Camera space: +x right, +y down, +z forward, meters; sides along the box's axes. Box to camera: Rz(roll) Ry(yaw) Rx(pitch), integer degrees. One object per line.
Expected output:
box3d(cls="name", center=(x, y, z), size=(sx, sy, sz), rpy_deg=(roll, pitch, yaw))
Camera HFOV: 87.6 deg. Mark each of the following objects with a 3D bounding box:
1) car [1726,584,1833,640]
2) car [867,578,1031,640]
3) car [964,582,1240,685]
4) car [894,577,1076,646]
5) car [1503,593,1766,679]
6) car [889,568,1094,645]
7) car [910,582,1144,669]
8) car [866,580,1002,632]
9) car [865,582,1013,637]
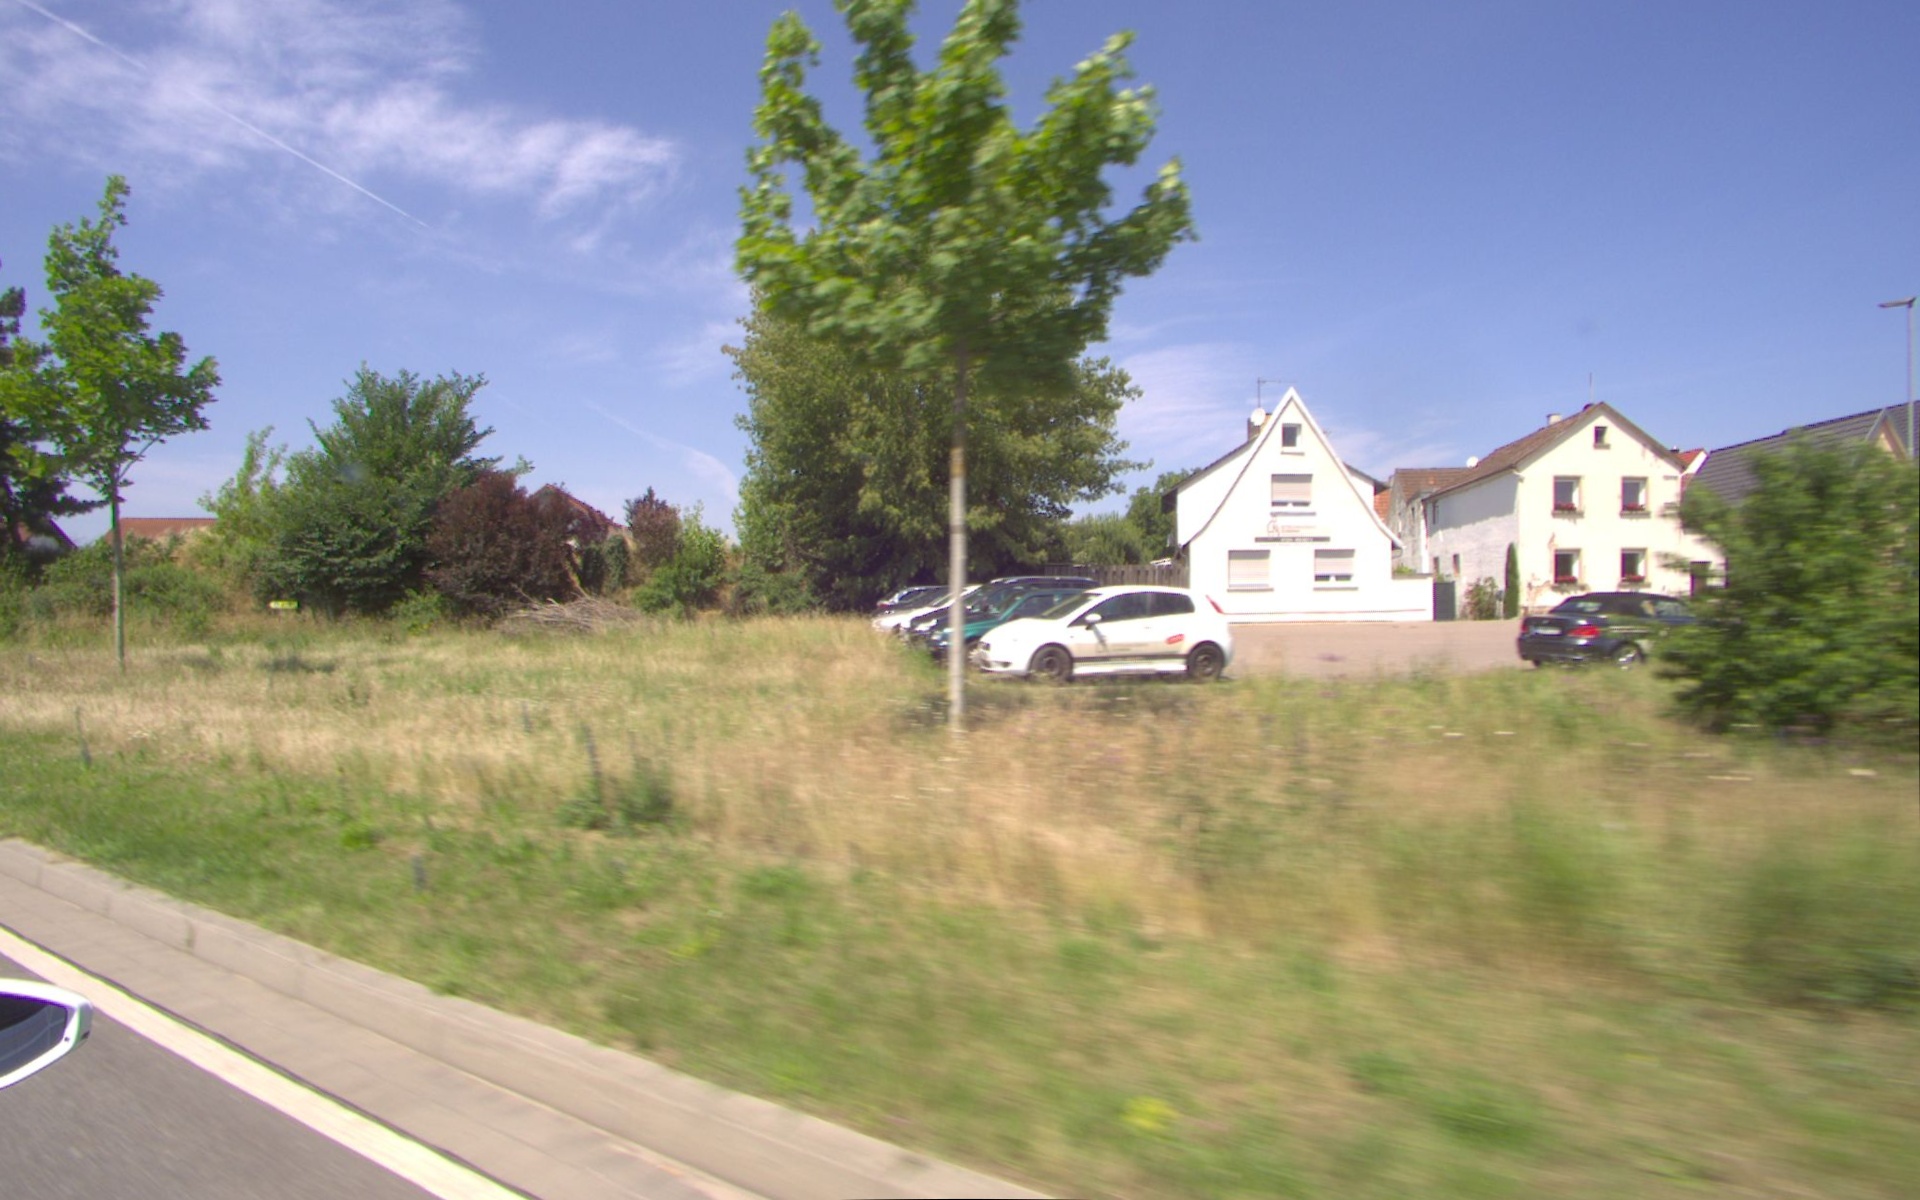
box3d(cls="car", center=(22.250, 0.294, 27.325), size=(1.626, 1.411, 3.981), rpy_deg=(0, 0, 30))
box3d(cls="car", center=(-0.323, 0.234, 25.481), size=(3.893, 1.462, 1.772), rpy_deg=(1, 0, -12))
box3d(cls="car", center=(2.169, 0.482, 15.704), size=(3.926, 1.447, 1.745), rpy_deg=(-1, 1, -13))
box3d(cls="car", center=(0.527, 0.268, 23.113), size=(3.893, 1.462, 1.772), rpy_deg=(1, 0, -11))
box3d(cls="car", center=(11.678, 0.564, 17.379), size=(3.930, 1.329, 1.743), rpy_deg=(-1, 1, -18))
box3d(cls="car", center=(0.601, 0.145, 20.516), size=(3.893, 1.462, 1.772), rpy_deg=(1, 0, -11))
box3d(cls="car", center=(1.152, 0.456, 18.153), size=(3.893, 1.462, 1.772), rpy_deg=(1, 0, -11))
box3d(cls="car", center=(-0.839, 0.186, 30.588), size=(3.893, 1.462, 1.772), rpy_deg=(1, 0, -12))
box3d(cls="car", center=(-0.632, 0.275, 28.234), size=(3.893, 1.462, 1.772), rpy_deg=(1, 0, -12))
